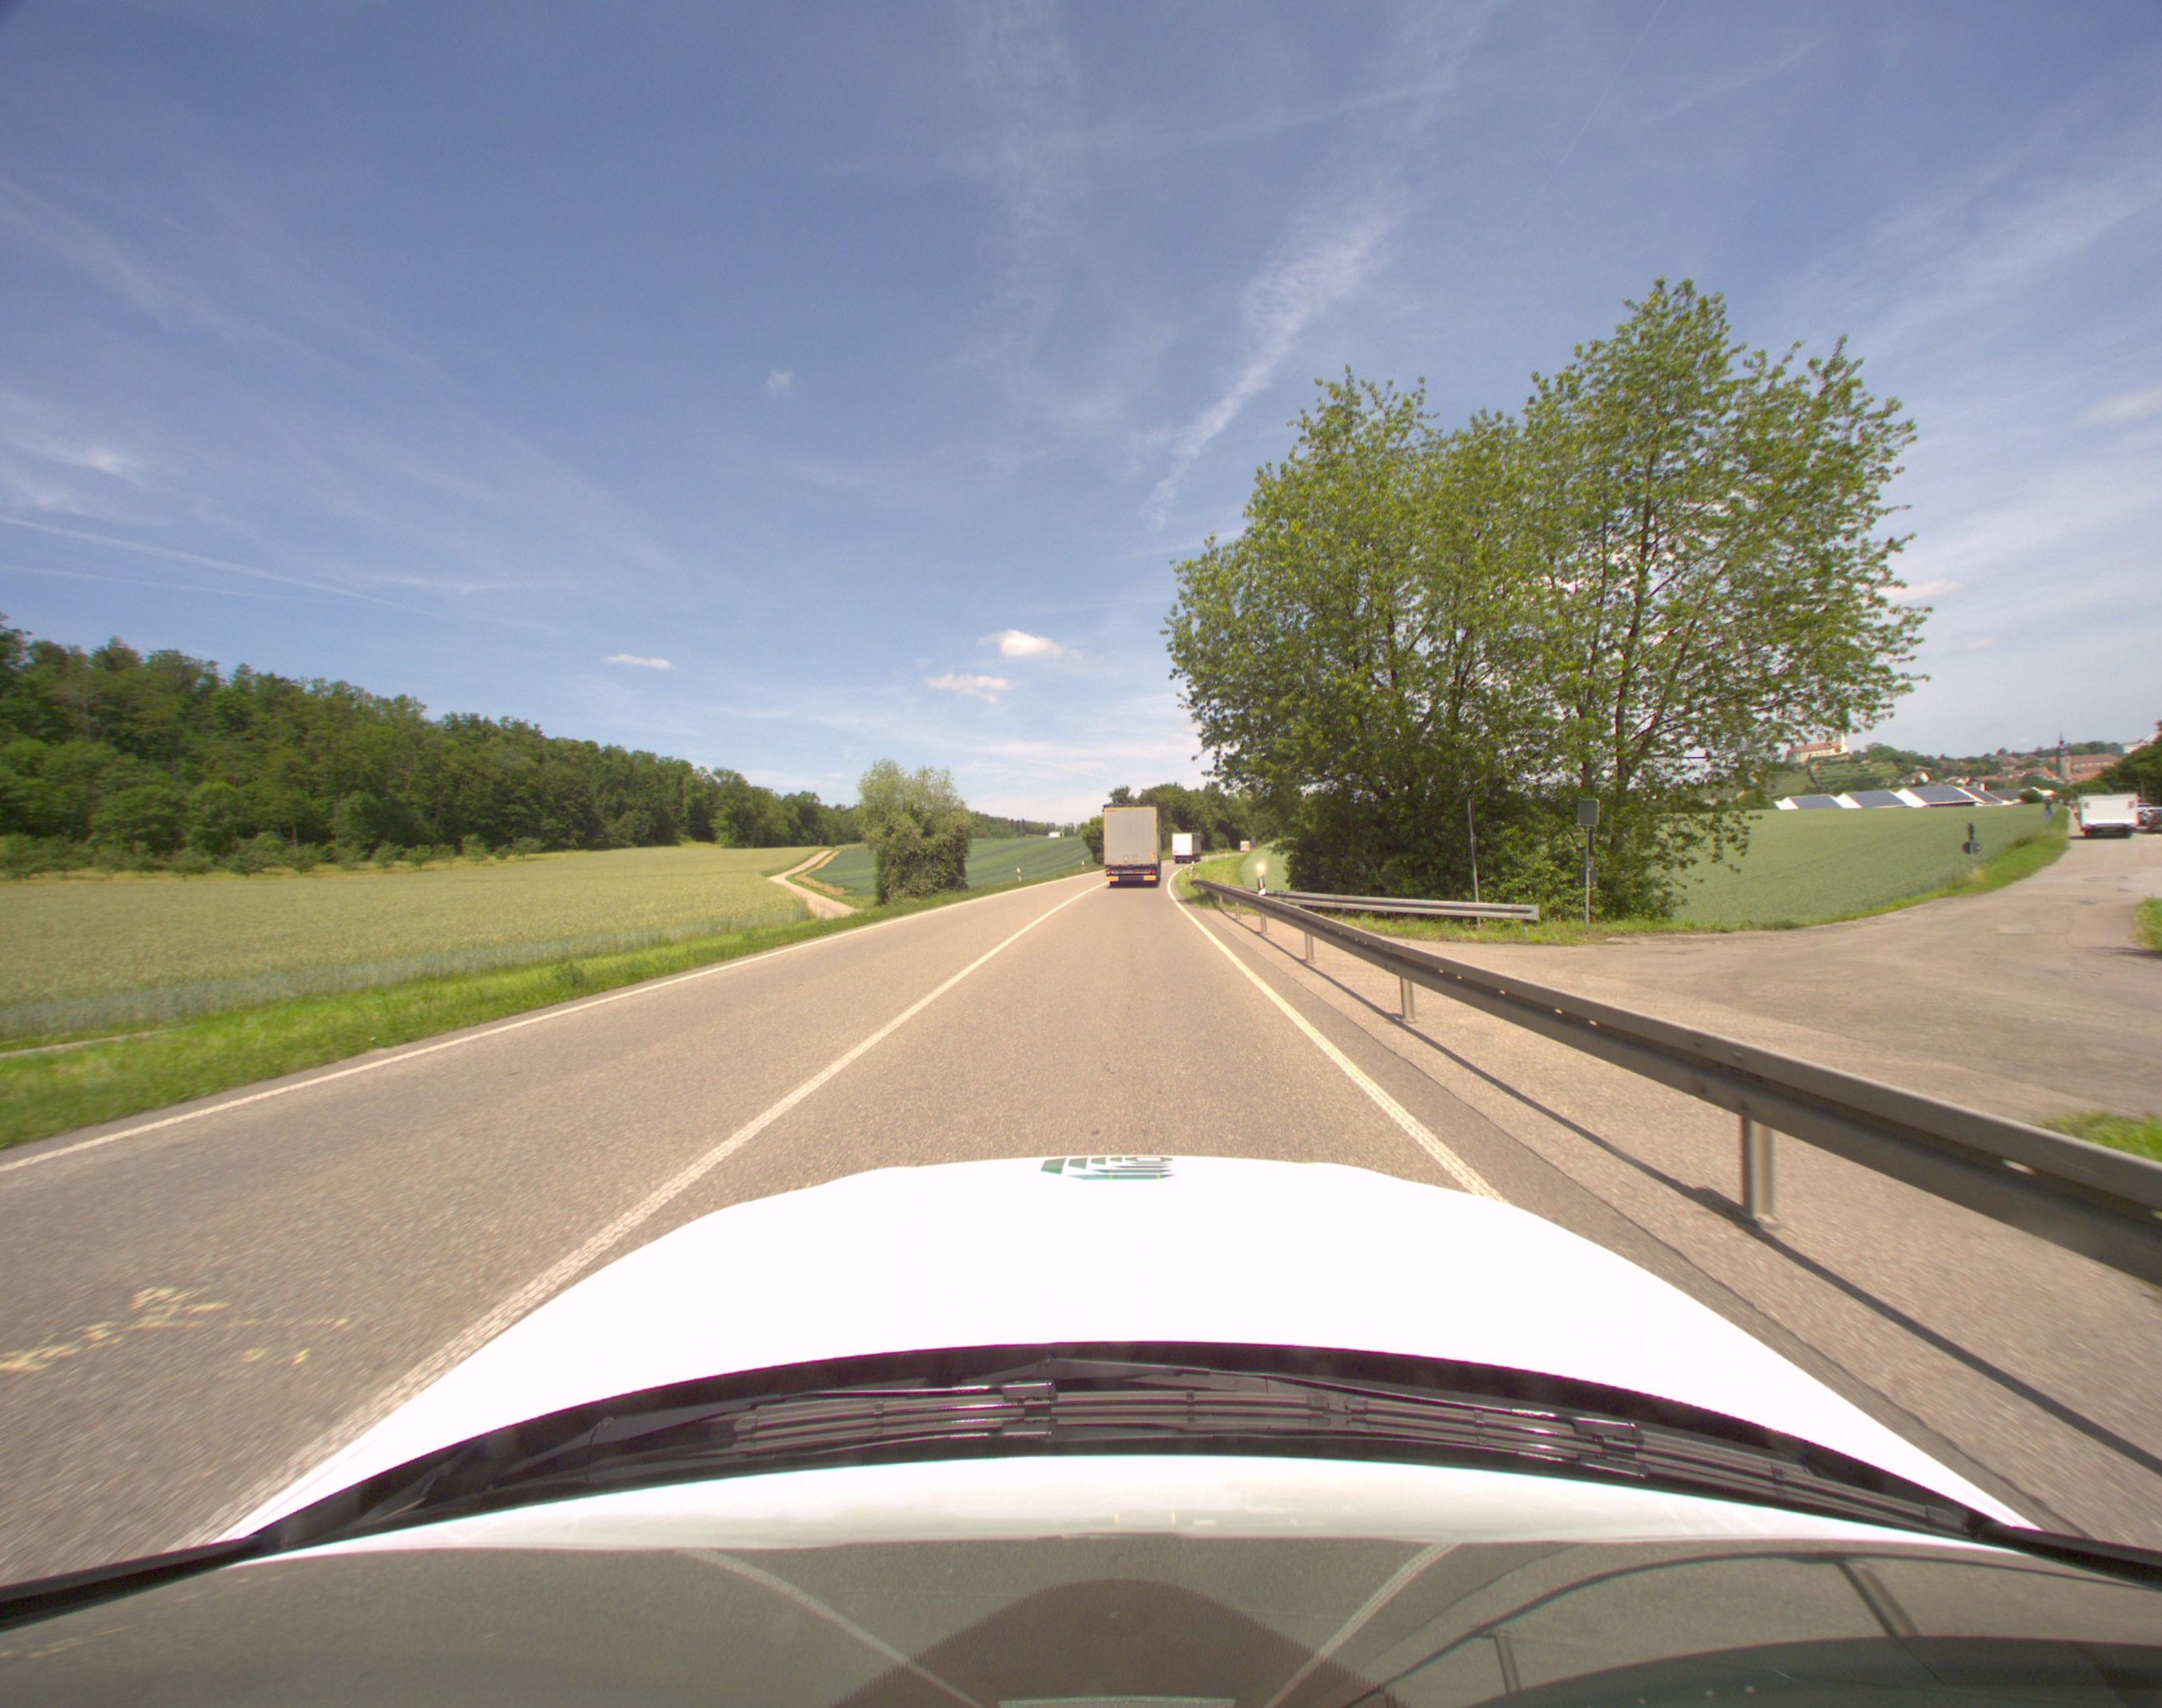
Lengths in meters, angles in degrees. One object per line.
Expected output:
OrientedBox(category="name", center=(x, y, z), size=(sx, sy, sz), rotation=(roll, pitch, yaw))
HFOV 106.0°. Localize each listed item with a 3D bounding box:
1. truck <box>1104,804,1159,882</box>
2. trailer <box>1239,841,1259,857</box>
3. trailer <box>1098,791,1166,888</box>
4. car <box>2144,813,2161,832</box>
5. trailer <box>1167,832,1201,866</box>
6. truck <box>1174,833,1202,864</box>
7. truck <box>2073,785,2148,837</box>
OrientedBox(category="truck", center=(3.177, -0.640, 51.095), size=(3.105, 4.494, 6.817), rotation=(-1, 0, 3))
OrientedBox(category="trailer", center=(40.431, -1.075, 195.785), size=(2.799, 3.309, 11.574), rotation=(-2, -2, 20))
OrientedBox(category="trailer", center=(2.822, -0.658, 45.222), size=(3.105, 4.500, 13.898), rotation=(-1, 0, 3))
OrientedBox(category="car", center=(85.074, -2.529, 63.842), size=(4.469, 1.408, 1.818), rotation=(-3, -1, -41))
OrientedBox(category="trailer", center=(14.238, -0.700, 111.569), size=(3.342, 4.316, 13.911), rotation=(-2, 0, 12))
OrientedBox(category="truck", center=(15.605, -0.830, 117.933), size=(3.342, 4.316, 6.763), rotation=(-2, 1, 12))
OrientedBox(category="truck", center=(78.946, -3.356, 62.578), size=(7.177, 3.535, 3.115), rotation=(-4, 0, -40))
